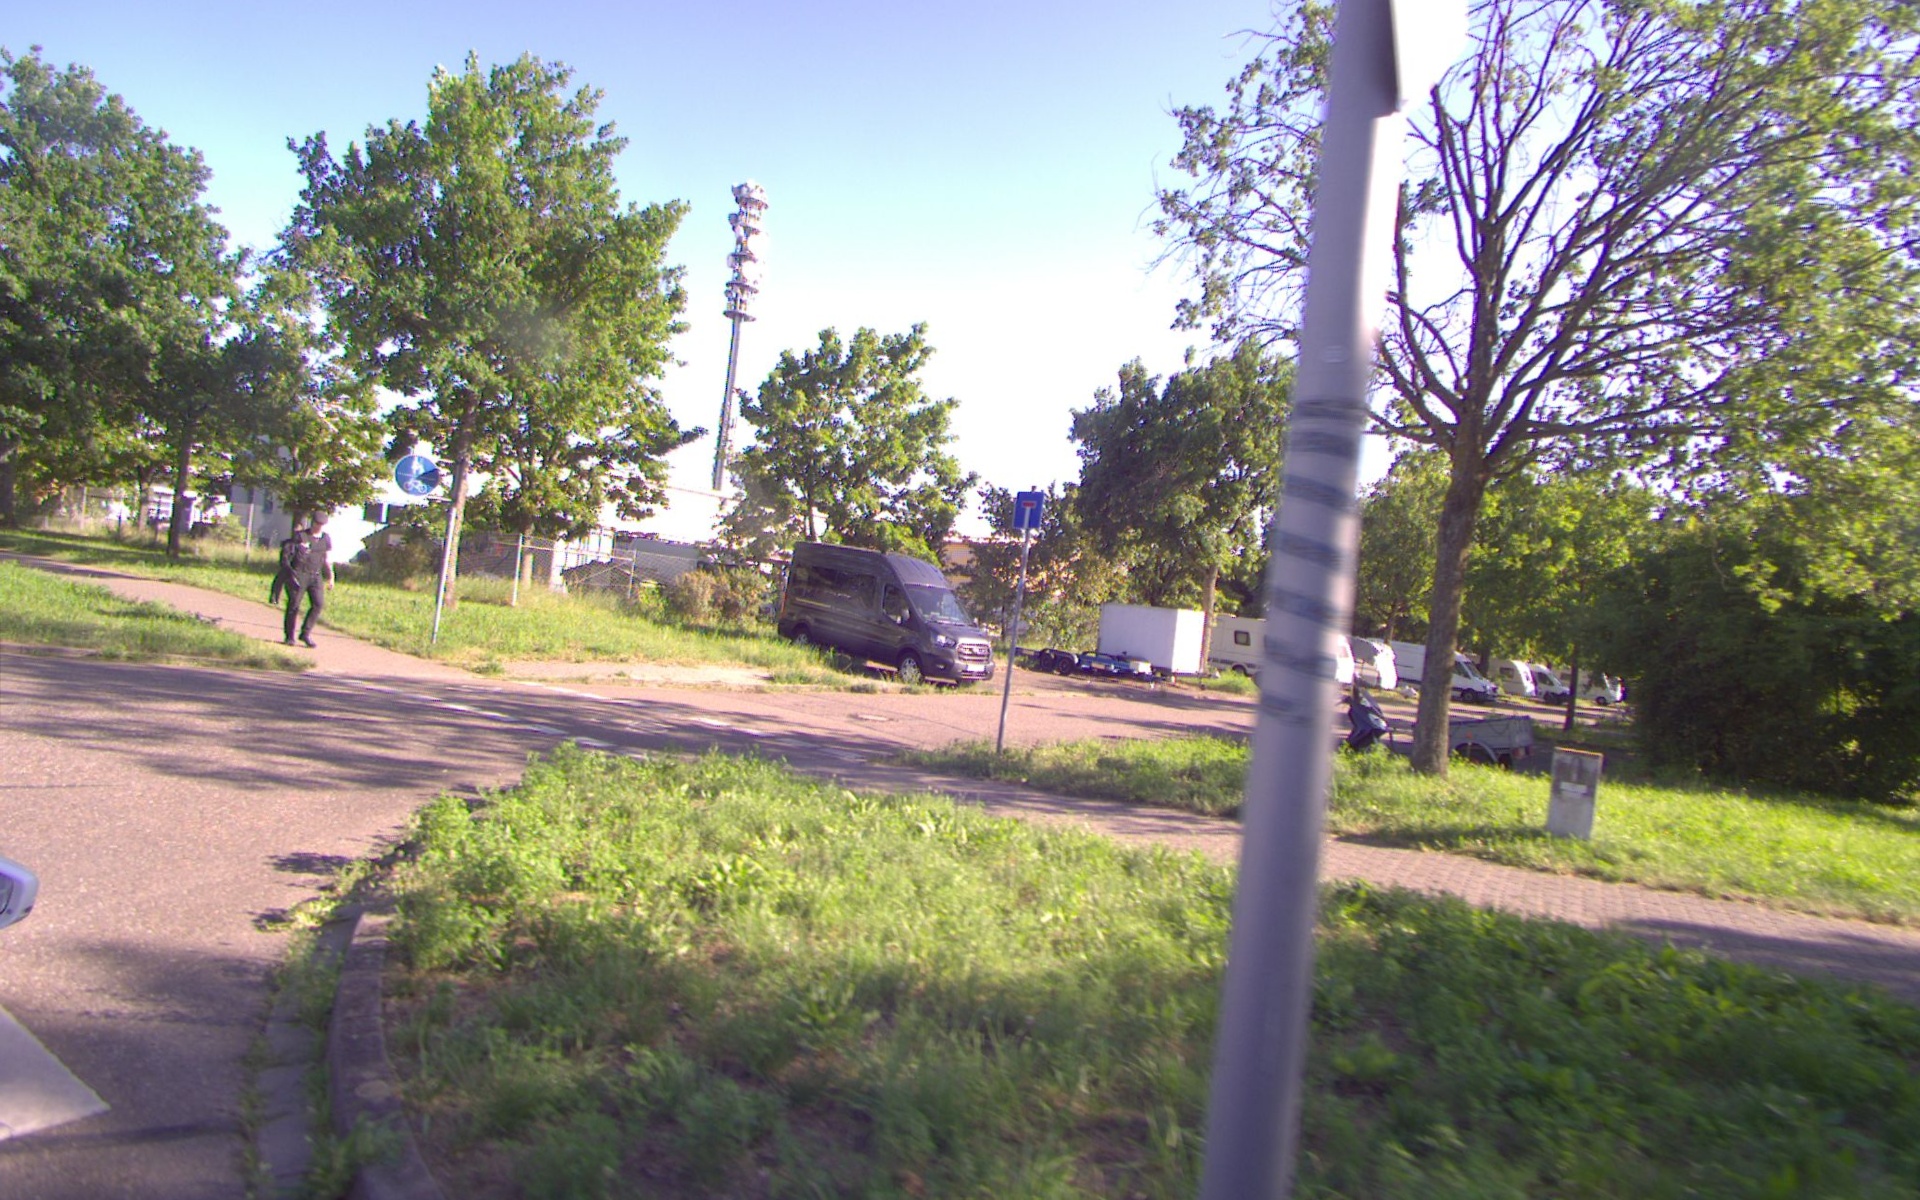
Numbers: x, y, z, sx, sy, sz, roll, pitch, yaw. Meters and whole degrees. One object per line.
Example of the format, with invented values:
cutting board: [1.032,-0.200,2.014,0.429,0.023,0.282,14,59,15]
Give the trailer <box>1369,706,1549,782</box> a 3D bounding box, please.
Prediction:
trailer: [7.451,2.116,15.037,2.029,0.878,1.575,1,-4,43]

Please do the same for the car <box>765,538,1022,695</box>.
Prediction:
car: [-1.681,0.287,22.938,5.889,2.597,2.082,10,1,43]

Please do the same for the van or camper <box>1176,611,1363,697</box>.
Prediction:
van or camper: [12.250,2.110,40.295,6.687,2.607,2.176,6,0,43]

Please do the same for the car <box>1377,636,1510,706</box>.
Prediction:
car: [25.139,3.662,52.440,5.601,2.944,2.332,5,-2,41]

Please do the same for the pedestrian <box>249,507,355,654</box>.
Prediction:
pedestrian: [-8.888,-0.259,13.593,0.853,1.835,0.726,10,2,30]

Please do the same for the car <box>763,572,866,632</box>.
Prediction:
car: [-7.137,0.091,48.903,4.943,2.087,2.082,10,1,43]

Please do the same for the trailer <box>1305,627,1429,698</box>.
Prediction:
trailer: [18.366,2.795,45.495,4.577,2.607,2.179,6,0,39]

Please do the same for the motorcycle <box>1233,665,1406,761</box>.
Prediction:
motorcycle: [5.435,1.687,15.334,2.376,1.245,0.661,1,-3,43]

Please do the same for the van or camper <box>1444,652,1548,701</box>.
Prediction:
van or camper: [35.305,5.017,66.408,5.517,2.451,2.176,6,0,43]

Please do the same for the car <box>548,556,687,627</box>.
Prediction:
car: [-10.239,-0.254,30.090,3.537,1.685,2.008,7,0,31]

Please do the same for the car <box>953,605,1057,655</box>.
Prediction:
car: [1.897,1.275,43.017,3.941,1.612,1.992,6,0,39]

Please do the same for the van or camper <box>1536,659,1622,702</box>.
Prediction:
van or camper: [51.238,6.631,83.349,5.515,2.799,2.397,6,0,42]

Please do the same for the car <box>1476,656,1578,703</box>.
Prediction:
car: [38.204,5.345,67.891,5.496,2.441,2.195,5,-2,41]

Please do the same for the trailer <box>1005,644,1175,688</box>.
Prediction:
trailer: [3.892,1.997,30.711,4.758,0.659,2.223,6,-1,43]

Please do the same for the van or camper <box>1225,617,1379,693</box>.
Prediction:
van or camper: [15.000,2.368,44.398,5.840,2.607,2.176,6,0,43]

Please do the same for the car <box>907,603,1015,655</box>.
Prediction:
car: [0.009,1.191,41.527,3.941,1.612,1.992,6,0,39]

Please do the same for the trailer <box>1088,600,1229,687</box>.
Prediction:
trailer: [6.415,1.387,32.717,3.739,2.336,2.184,6,0,43]

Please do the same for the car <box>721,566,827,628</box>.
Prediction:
car: [-8.757,-0.154,47.103,4.943,2.087,2.082,10,1,43]

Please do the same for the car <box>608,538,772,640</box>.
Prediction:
car: [-8.661,-0.365,32.184,4.770,2.676,2.163,7,0,31]
